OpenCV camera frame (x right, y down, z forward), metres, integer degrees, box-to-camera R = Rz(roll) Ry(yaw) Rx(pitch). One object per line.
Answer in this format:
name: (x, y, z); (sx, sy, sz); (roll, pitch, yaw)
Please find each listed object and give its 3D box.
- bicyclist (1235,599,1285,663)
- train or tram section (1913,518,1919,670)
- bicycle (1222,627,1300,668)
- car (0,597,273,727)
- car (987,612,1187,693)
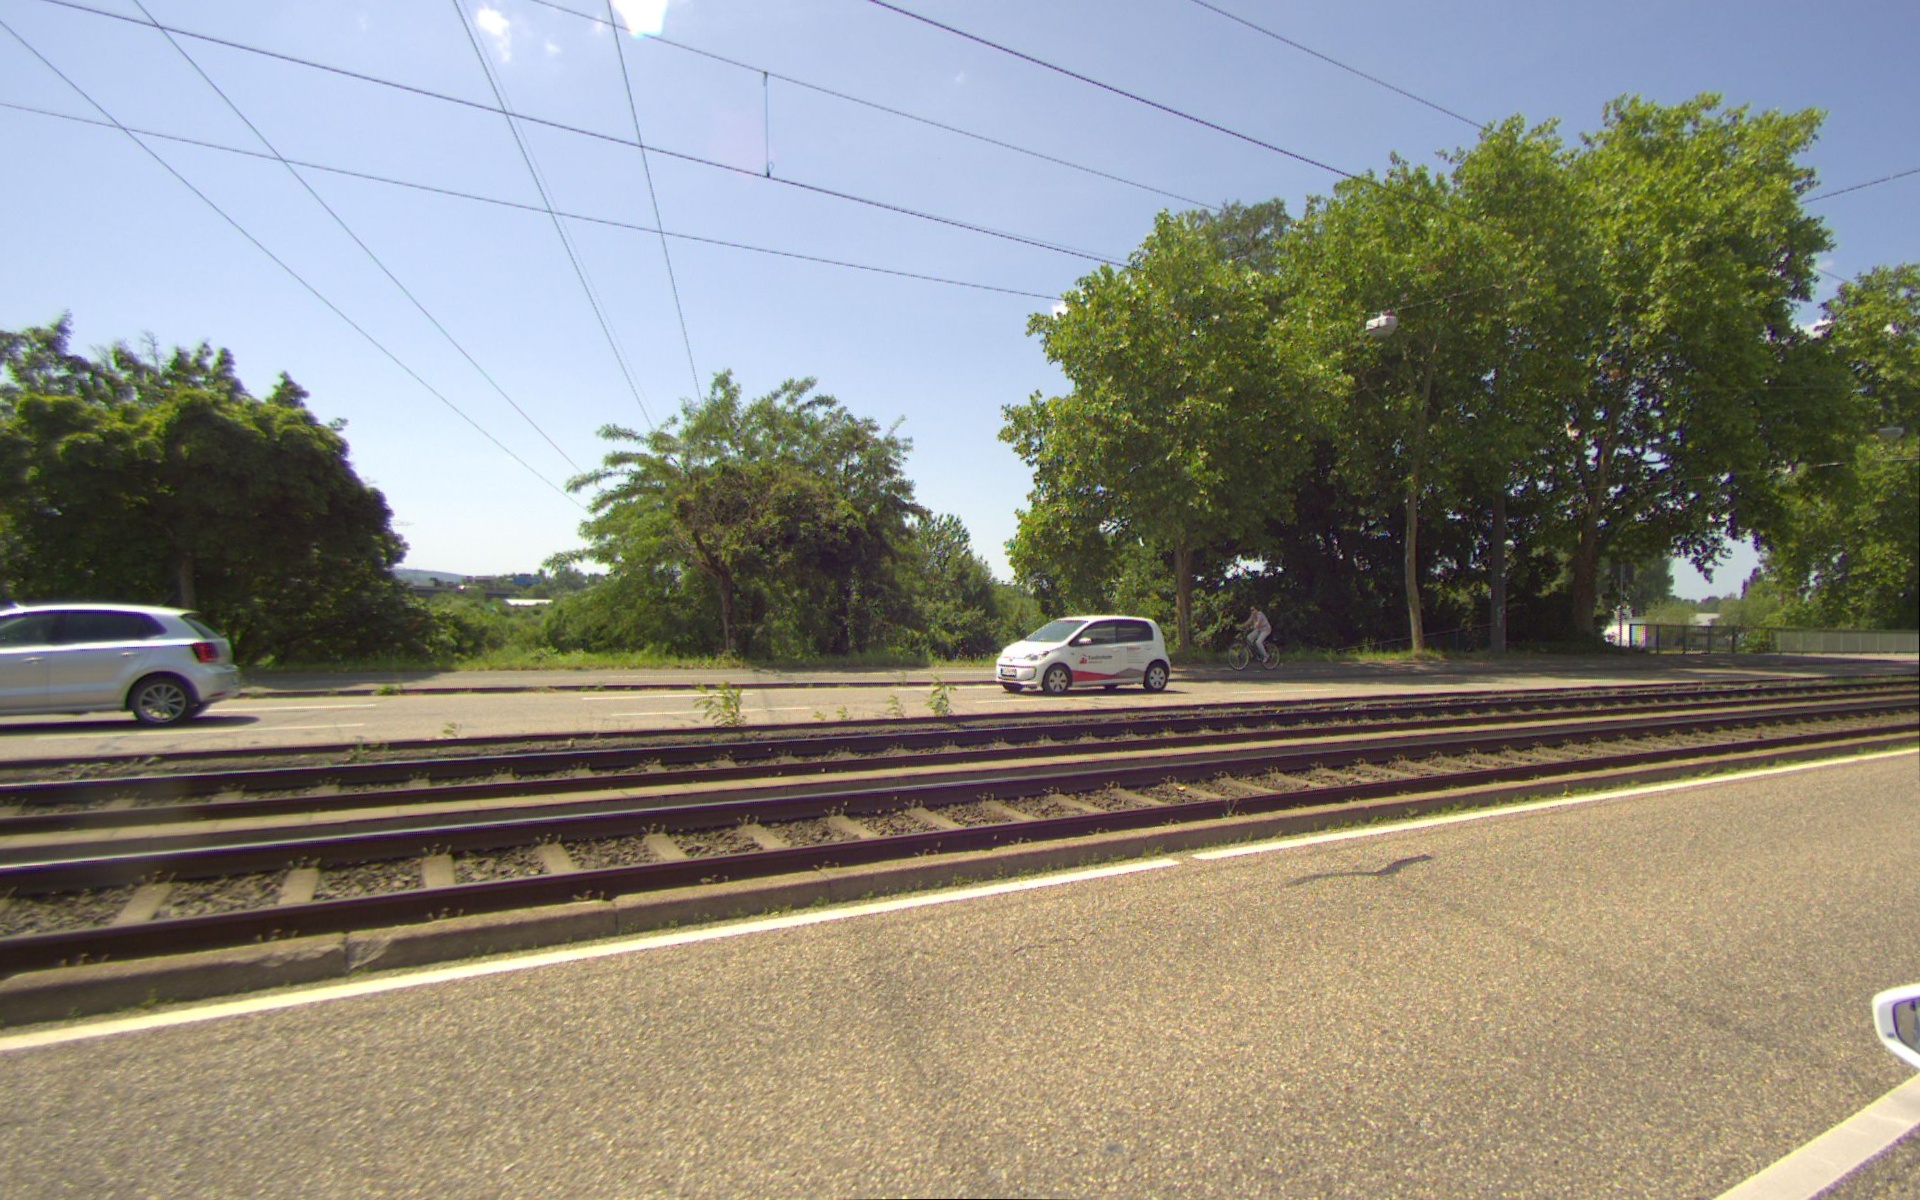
bicyclist: (7.866, 0.807, 26.311); (1.047, 1.639, 0.621); (1, 2, -24)
train or tram section: (34.602, -0.055, 31.105); (15.236, 4.324, 3.035); (1, -1, -29)
bicycle: (7.884, 1.240, 26.330); (2.026, 0.993, 0.621); (1, 2, -24)
car: (-10.771, 0.712, 11.998); (4.078, 1.440, 1.629); (1, -2, -30)
car: (2.508, 0.995, 19.592); (3.679, 1.455, 1.629); (1, -2, -31)
